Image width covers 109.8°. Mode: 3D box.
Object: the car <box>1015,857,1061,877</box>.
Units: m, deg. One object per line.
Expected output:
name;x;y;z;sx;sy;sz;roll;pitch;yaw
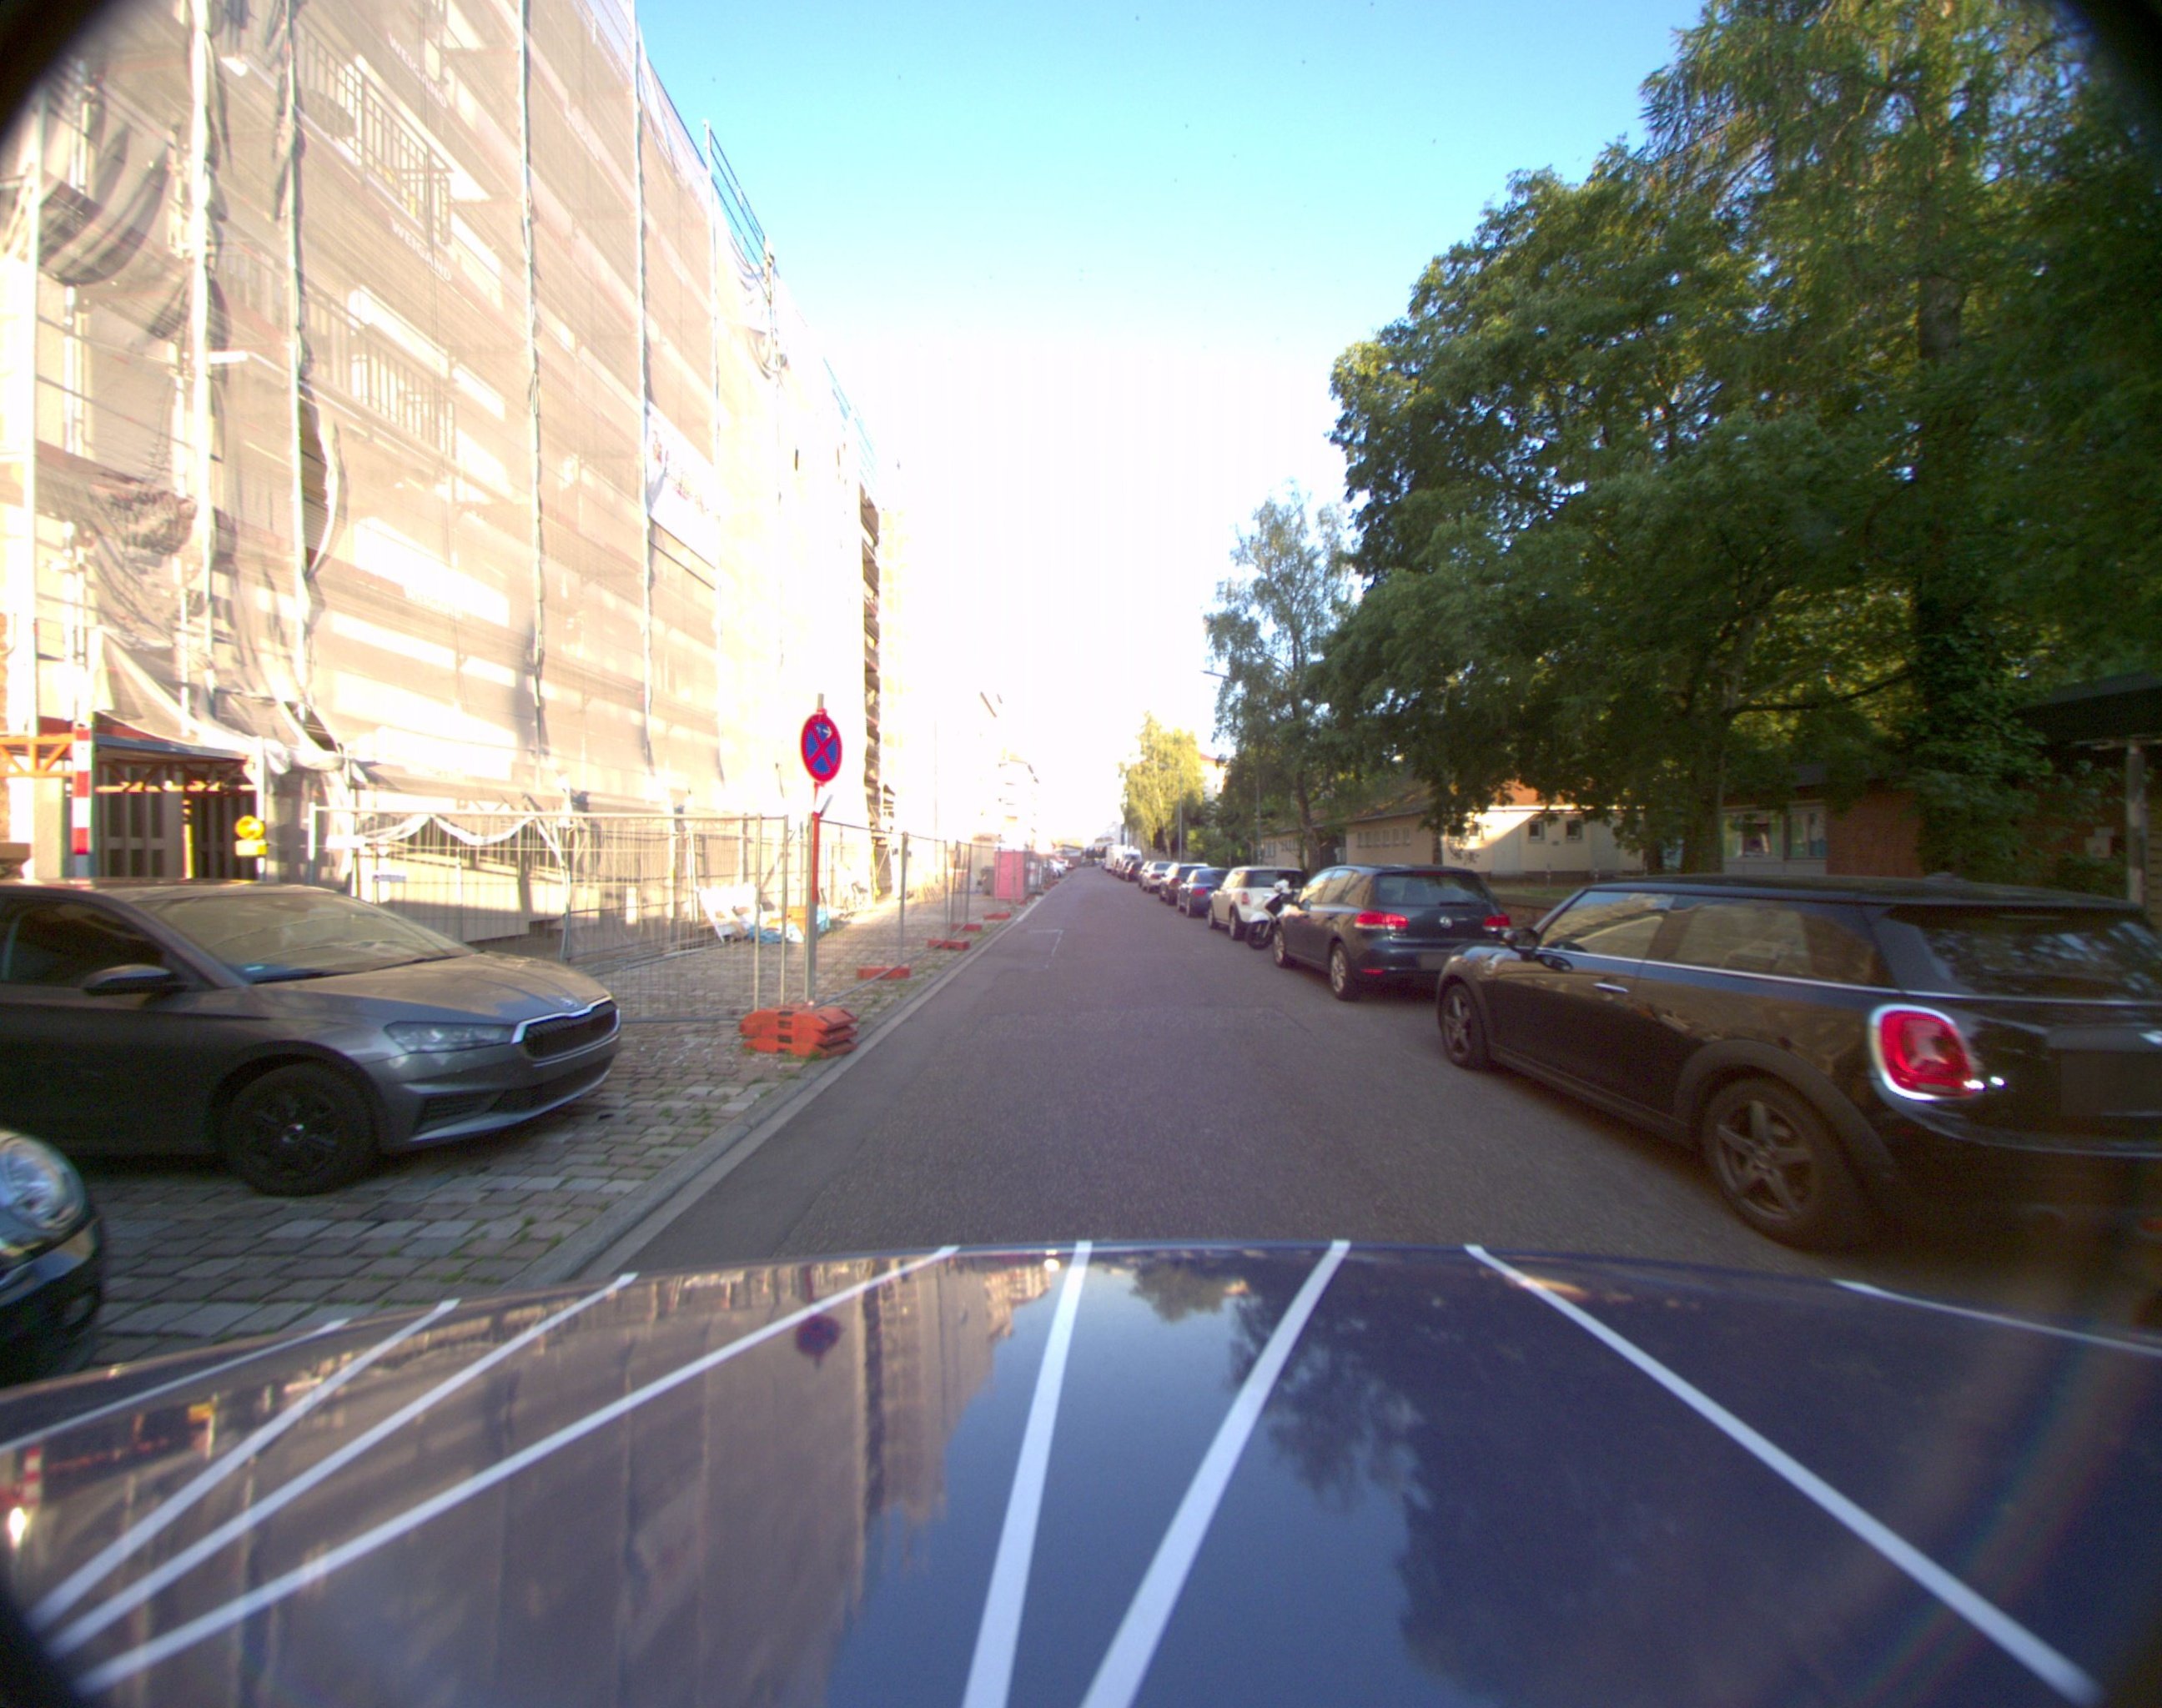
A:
car;-3.781;1.159;67.689;3.997;1.718;1.999;-1;1;-1

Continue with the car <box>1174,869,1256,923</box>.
car;3.686;1.114;21.537;1.663;1.306;4.155;0;0;1

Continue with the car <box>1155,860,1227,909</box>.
car;3.787;1.012;26.913;1.864;1.529;4.758;0;0;0

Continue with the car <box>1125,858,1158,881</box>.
car;4.170;1.038;52.759;1.998;1.444;4.288;-1;0;1

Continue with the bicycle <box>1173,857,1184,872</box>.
bicycle;7.431;0.762;57.978;0.544;1.111;1.955;-2;0;-1

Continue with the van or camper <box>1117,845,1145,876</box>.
van or camper;4.247;0.548;64.972;1.998;2.442;6.083;-1;0;0

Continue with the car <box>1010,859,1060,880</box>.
car;-3.796;1.255;63.064;3.998;1.628;1.903;-1;0;-2

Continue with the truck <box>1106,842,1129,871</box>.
truck;4.403;0.263;93.071;2.532;3.334;8.018;2;0;1

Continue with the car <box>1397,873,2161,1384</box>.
car;3.415;0.903;4.331;1.641;1.469;3.993;1;0;2

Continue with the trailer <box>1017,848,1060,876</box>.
trailer;-3.620;0.691;65.591;3.577;2.323;1.940;1;0;-2

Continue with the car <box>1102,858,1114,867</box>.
car;4.838;1.526;137.002;1.999;1.481;4.431;-1;-1;-1

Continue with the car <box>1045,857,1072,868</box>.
car;-3.355;1.292;113.654;3.998;1.619;1.784;-1;0;-2

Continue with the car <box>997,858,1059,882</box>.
car;-3.667;1.119;53.067;4.163;1.606;1.872;-1;0;2

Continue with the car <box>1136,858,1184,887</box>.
car;4.209;0.950;41.124;1.999;1.444;3.999;-1;0;-2

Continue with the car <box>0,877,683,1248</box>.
car;-4.803;0.965;4.306;3.998;1.507;2.019;2;0;-4

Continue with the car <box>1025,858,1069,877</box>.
car;-3.092;1.269;70.323;3.997;1.630;2.000;-1;1;-1

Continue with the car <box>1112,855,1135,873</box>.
car;4.221;0.957;75.711;1.915;1.777;4.949;0;0;-1

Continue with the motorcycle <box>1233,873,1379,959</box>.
motorcycle;3.627;0.994;12.375;2.167;1.296;0.881;-2;0;15

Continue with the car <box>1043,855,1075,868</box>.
car;-3.353;1.119;116.562;4.685;1.988;2.000;-1;0;1

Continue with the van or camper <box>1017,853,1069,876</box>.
van or camper;-3.593;0.983;73.058;4.846;2.084;2.040;-1;0;0

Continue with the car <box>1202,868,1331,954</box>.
car;3.606;1.055;15.408;1.605;1.423;3.803;2;0;-1

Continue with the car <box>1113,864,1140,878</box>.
car;4.175;1.582;70.327;1.999;1.182;4.035;-1;0;-5

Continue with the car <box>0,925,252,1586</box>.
car;-4.507;0.944;1.453;3.944;1.478;1.787;1;2;2

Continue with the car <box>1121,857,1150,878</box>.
car;4.176;1.025;59.208;1.998;1.510;4.789;-1;0;1

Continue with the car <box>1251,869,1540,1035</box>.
car;3.482;0.980;9.399;1.720;1.487;4.360;1;0;-1

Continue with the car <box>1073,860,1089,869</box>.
car;-0.068;1.875;135.336;2.000;1.481;4.428;-1;-1;-11

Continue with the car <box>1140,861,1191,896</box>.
car;3.853;1.066;35.227;1.787;1.437;4.748;2;0;0
